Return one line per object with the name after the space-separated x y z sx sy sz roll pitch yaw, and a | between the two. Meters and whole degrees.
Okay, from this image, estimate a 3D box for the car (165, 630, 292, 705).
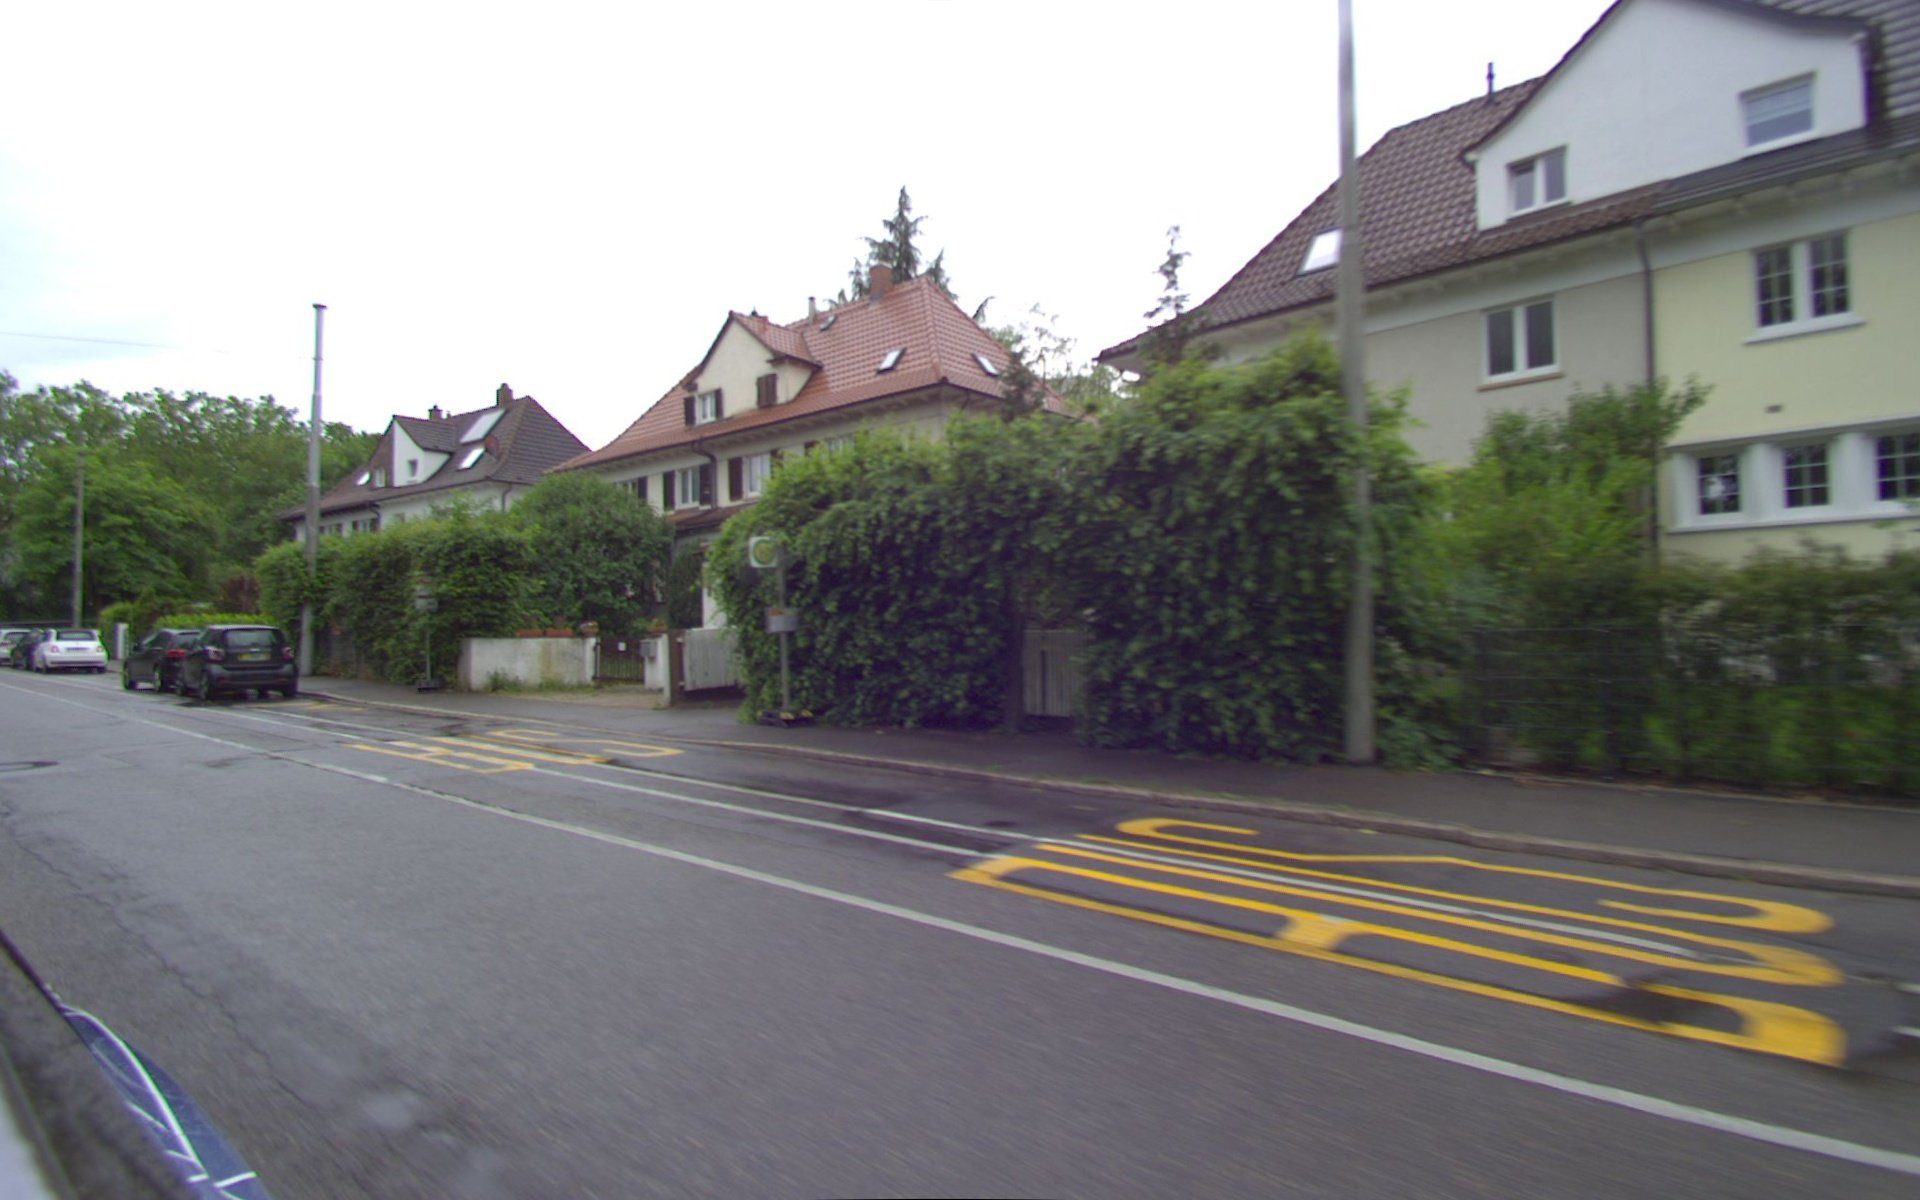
-15.570 1.402 21.503 3.027 1.465 1.503 -2 -4 41 | car

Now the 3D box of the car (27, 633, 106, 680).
-30.088 1.858 34.047 3.711 1.479 1.679 -2 -2 43 | car

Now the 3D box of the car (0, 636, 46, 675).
-37.892 2.248 40.326 4.281 1.433 1.714 -5 -4 41 | car

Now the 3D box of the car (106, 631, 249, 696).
-18.761 1.495 24.200 4.209 1.429 1.672 -2 -4 38 | car

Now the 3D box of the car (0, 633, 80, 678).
-33.778 1.987 37.072 4.419 1.536 1.681 -1 -2 40 | car
